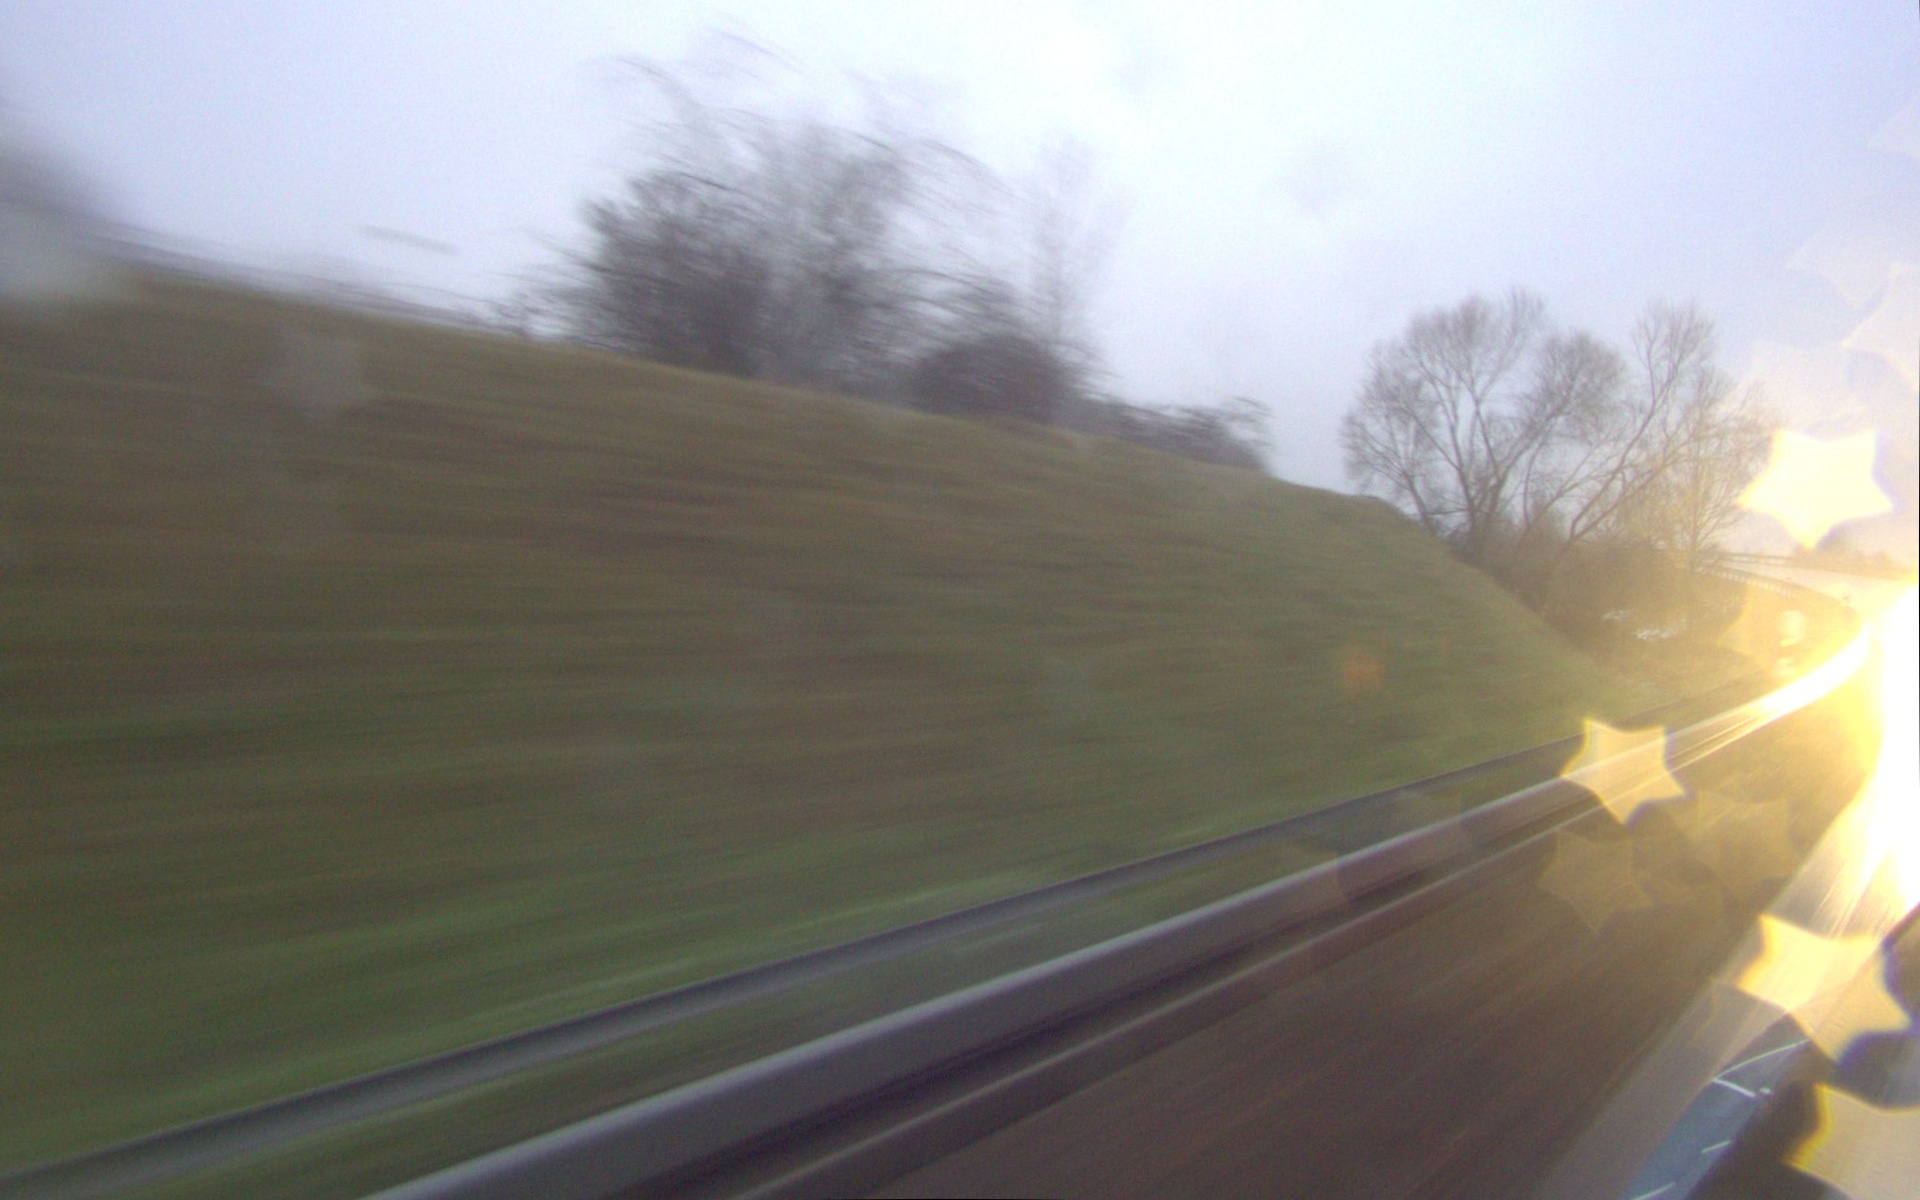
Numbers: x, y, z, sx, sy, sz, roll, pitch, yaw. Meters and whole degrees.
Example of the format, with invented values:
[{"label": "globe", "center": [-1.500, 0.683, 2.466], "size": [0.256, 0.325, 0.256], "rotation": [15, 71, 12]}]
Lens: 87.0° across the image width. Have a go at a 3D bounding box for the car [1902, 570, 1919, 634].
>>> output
[{"label": "car", "center": [24.676, 0.096, 24.488], "size": [2.092, 1.594, 4.737], "rotation": [4, 3, 36]}]
